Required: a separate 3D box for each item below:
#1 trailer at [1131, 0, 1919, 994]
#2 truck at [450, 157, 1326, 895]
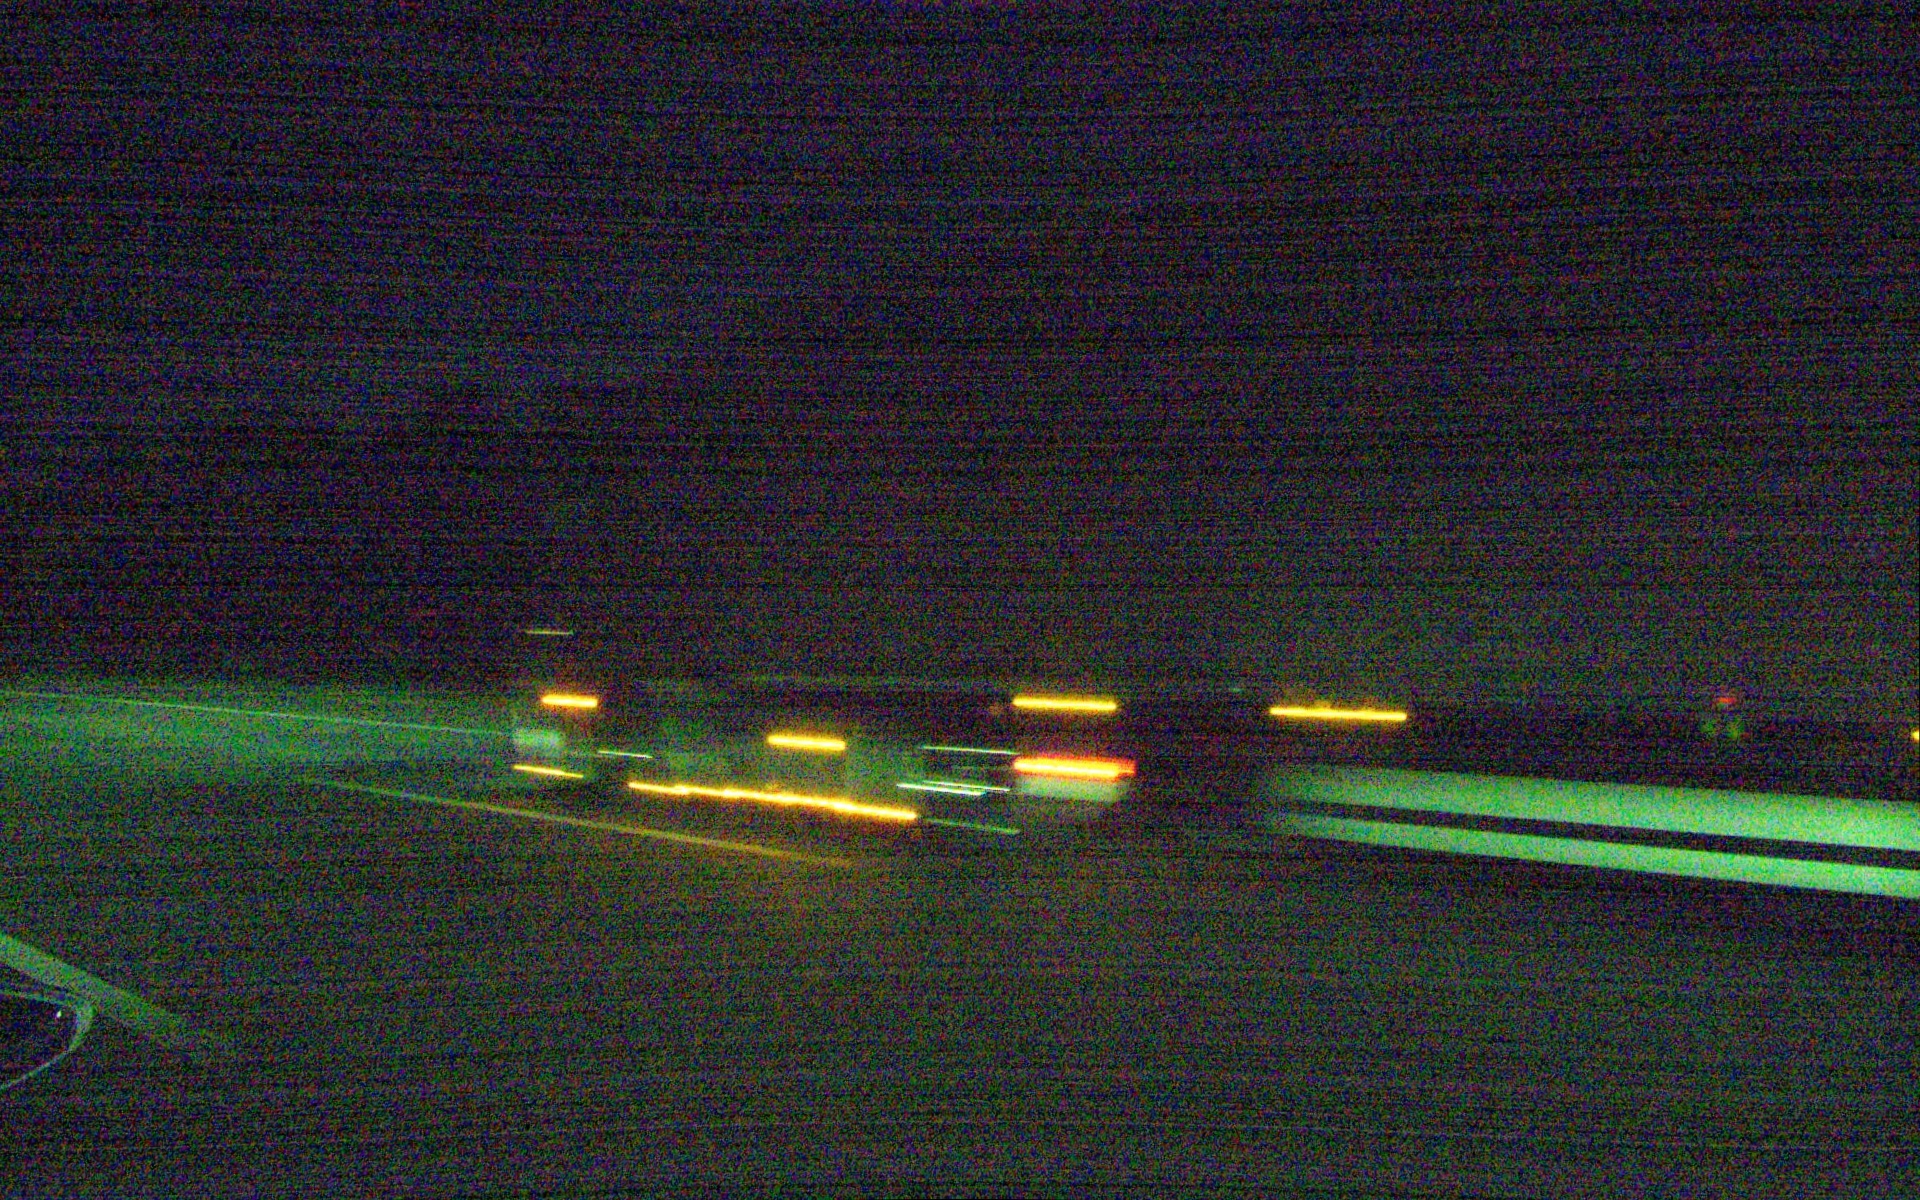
[{"bbox_3d":[5.849,-0.449,4.355,9.866,4.124,2.587,-1,-2,33],"label":"trailer"},{"bbox_3d":[-1.017,-0.323,8.722,7.564,4.124,2.587,-1,-2,33],"label":"truck"}]
